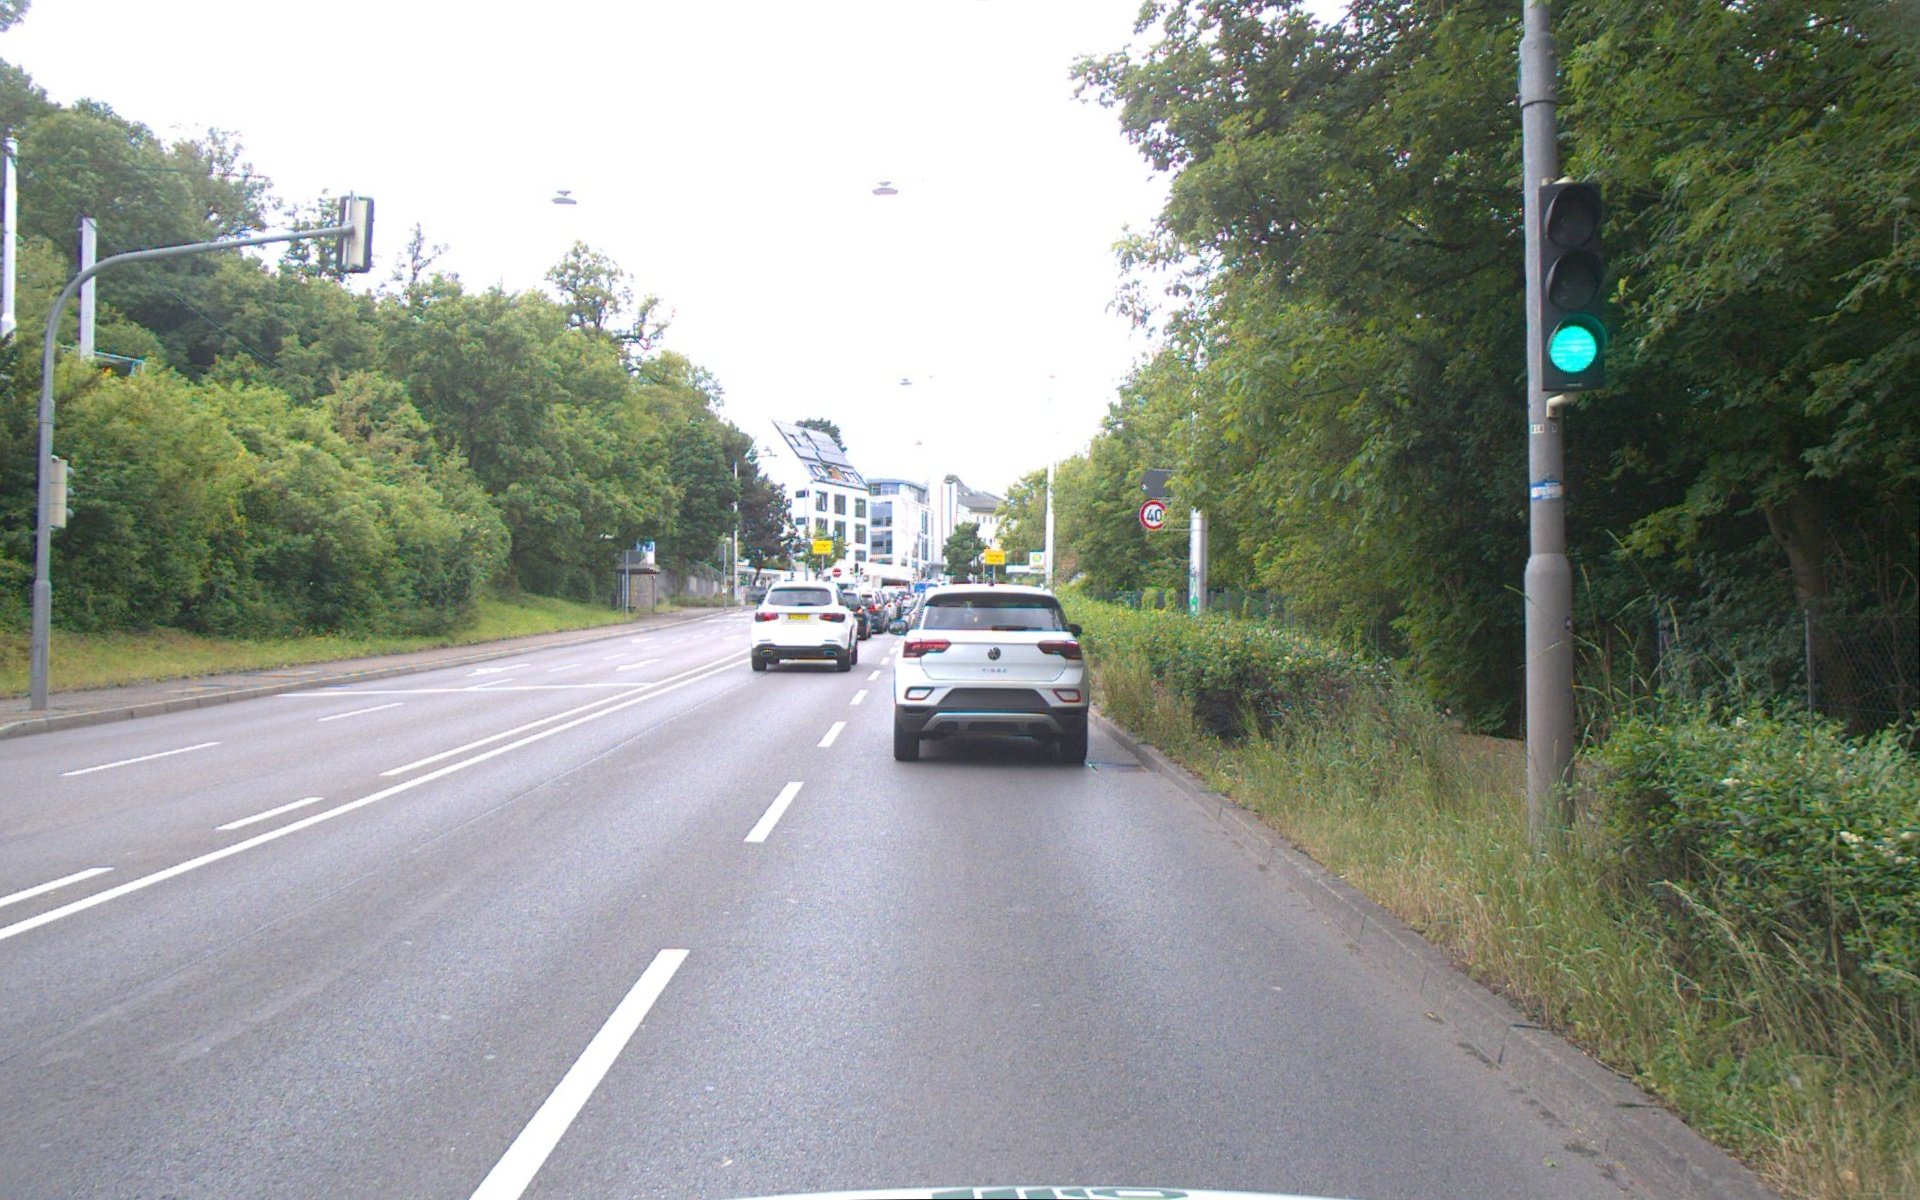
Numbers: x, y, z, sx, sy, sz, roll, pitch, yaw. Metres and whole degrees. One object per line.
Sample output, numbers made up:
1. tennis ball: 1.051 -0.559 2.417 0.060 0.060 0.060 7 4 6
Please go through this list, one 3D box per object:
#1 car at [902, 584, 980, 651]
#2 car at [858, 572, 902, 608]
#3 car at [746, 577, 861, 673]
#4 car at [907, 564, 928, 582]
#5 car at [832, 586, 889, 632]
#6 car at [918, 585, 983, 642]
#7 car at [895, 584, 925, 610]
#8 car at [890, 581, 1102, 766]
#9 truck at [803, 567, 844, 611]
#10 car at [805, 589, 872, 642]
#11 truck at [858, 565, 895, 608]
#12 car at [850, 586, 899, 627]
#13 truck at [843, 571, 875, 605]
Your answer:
1. car: -0.474 0.400 40.677 1.792 1.552 3.999 -1 0 -1
2. car: -3.514 -0.451 73.477 1.792 1.552 3.999 -1 0 -1
3. car: -2.916 0.434 31.587 1.879 1.698 3.999 1 0 -1
4. car: -3.704 -2.334 143.587 1.792 1.552 3.999 -1 0 -1
5. car: -3.474 0.302 58.430 1.792 1.552 3.999 -1 0 -1
6. car: -0.291 0.365 48.237 1.792 1.552 3.999 -1 0 -1
7. car: -3.170 -0.201 105.228 1.792 1.552 3.999 -1 0 -1
8. car: 0.270 0.609 16.003 1.792 1.552 3.999 0 0 -1
9. truck: -8.869 -0.703 107.908 2.314 2.754 4.477 -2 0 -1
10. car: -3.666 0.451 50.534 1.792 1.523 3.999 -1 0 -1
11. truck: -5.666 -0.912 112.376 2.314 2.830 4.477 -2 0 -1
12. car: -3.393 0.239 65.960 1.792 1.552 3.999 -1 0 -1
13. truck: -9.540 -1.097 157.168 2.245 3.104 6.981 -1 0 2
